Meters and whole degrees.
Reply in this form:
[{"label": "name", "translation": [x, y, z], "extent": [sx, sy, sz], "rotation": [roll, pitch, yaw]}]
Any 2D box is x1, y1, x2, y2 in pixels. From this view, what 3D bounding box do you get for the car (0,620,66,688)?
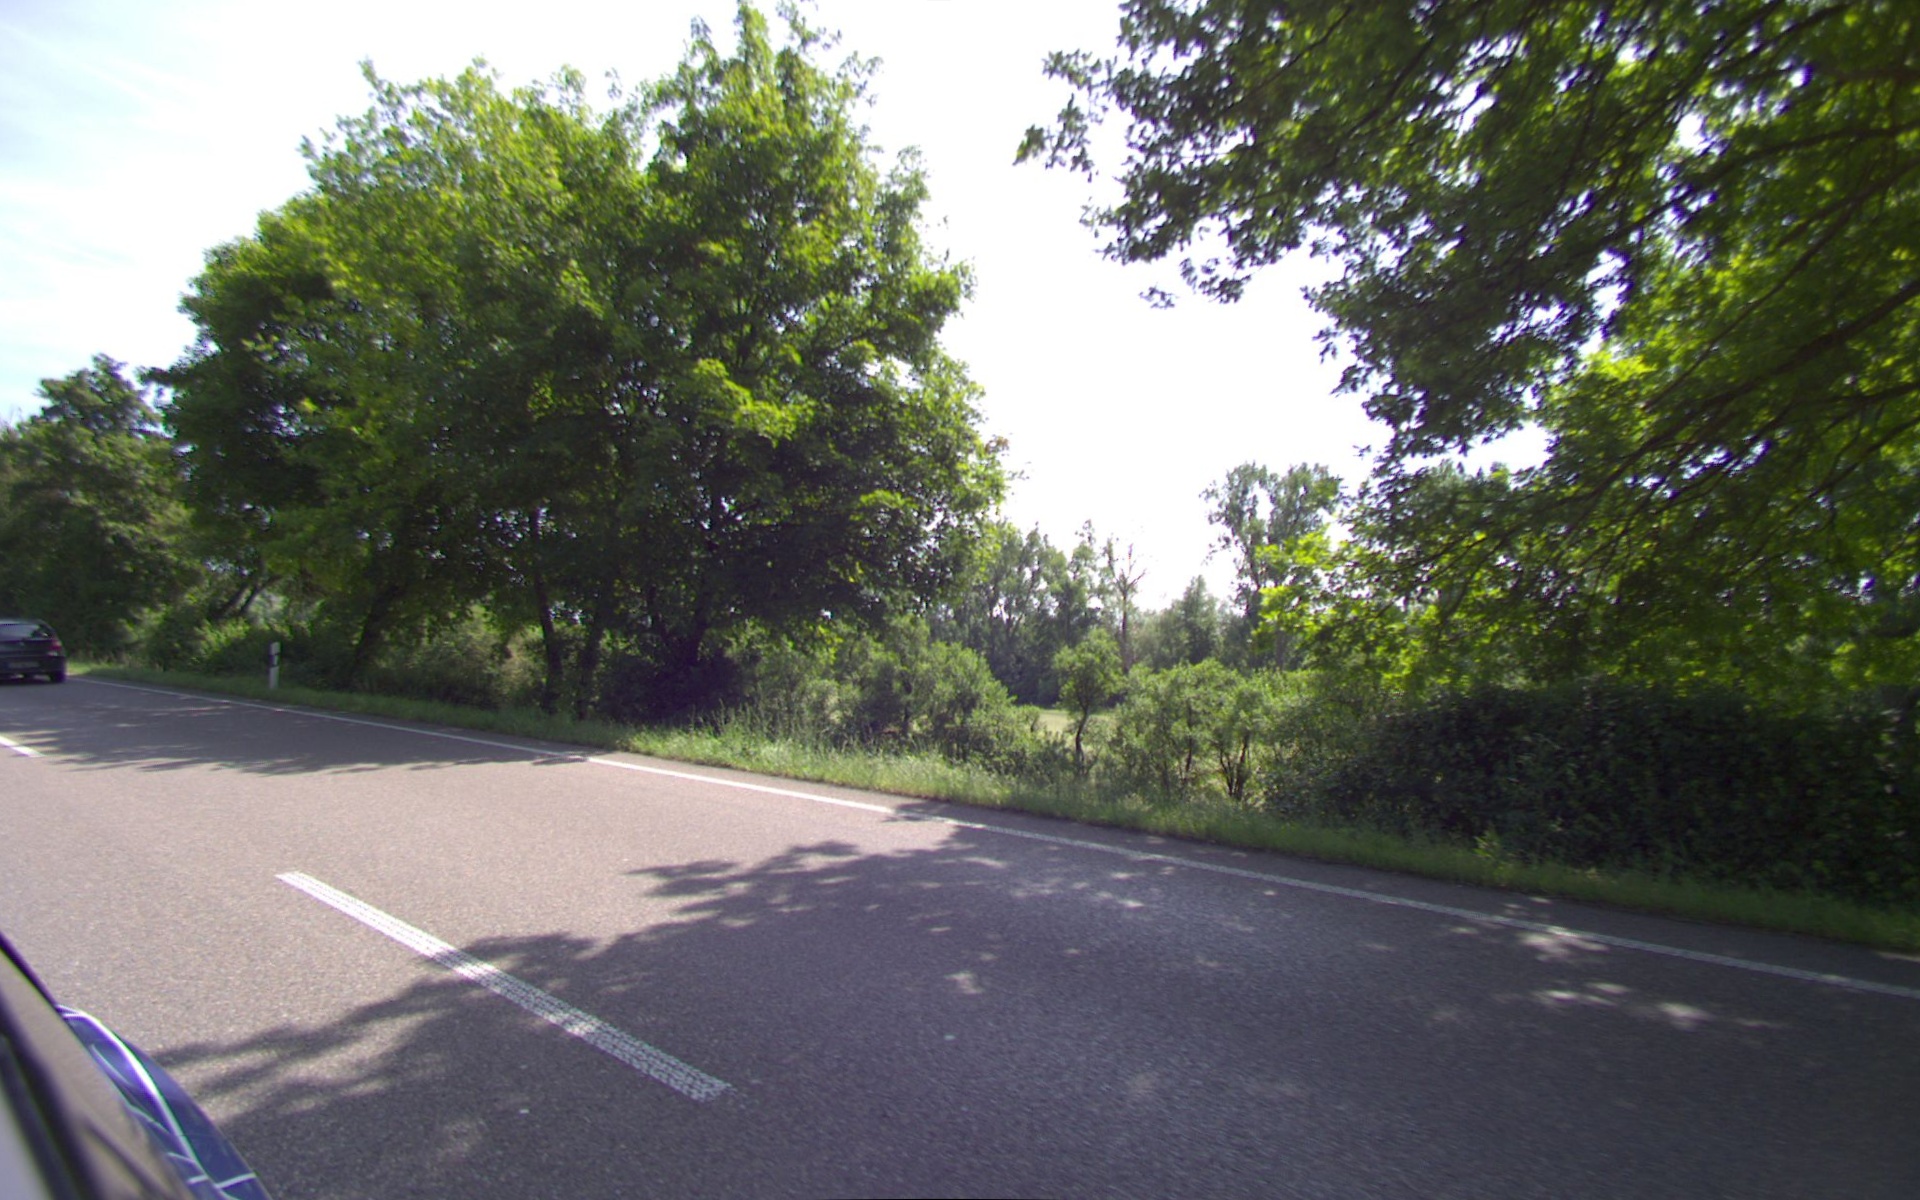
[{"label": "car", "translation": [-21.644, 1.164, 22.720], "extent": [4.266, 1.443, 1.741], "rotation": [-1, -2, 40]}]
